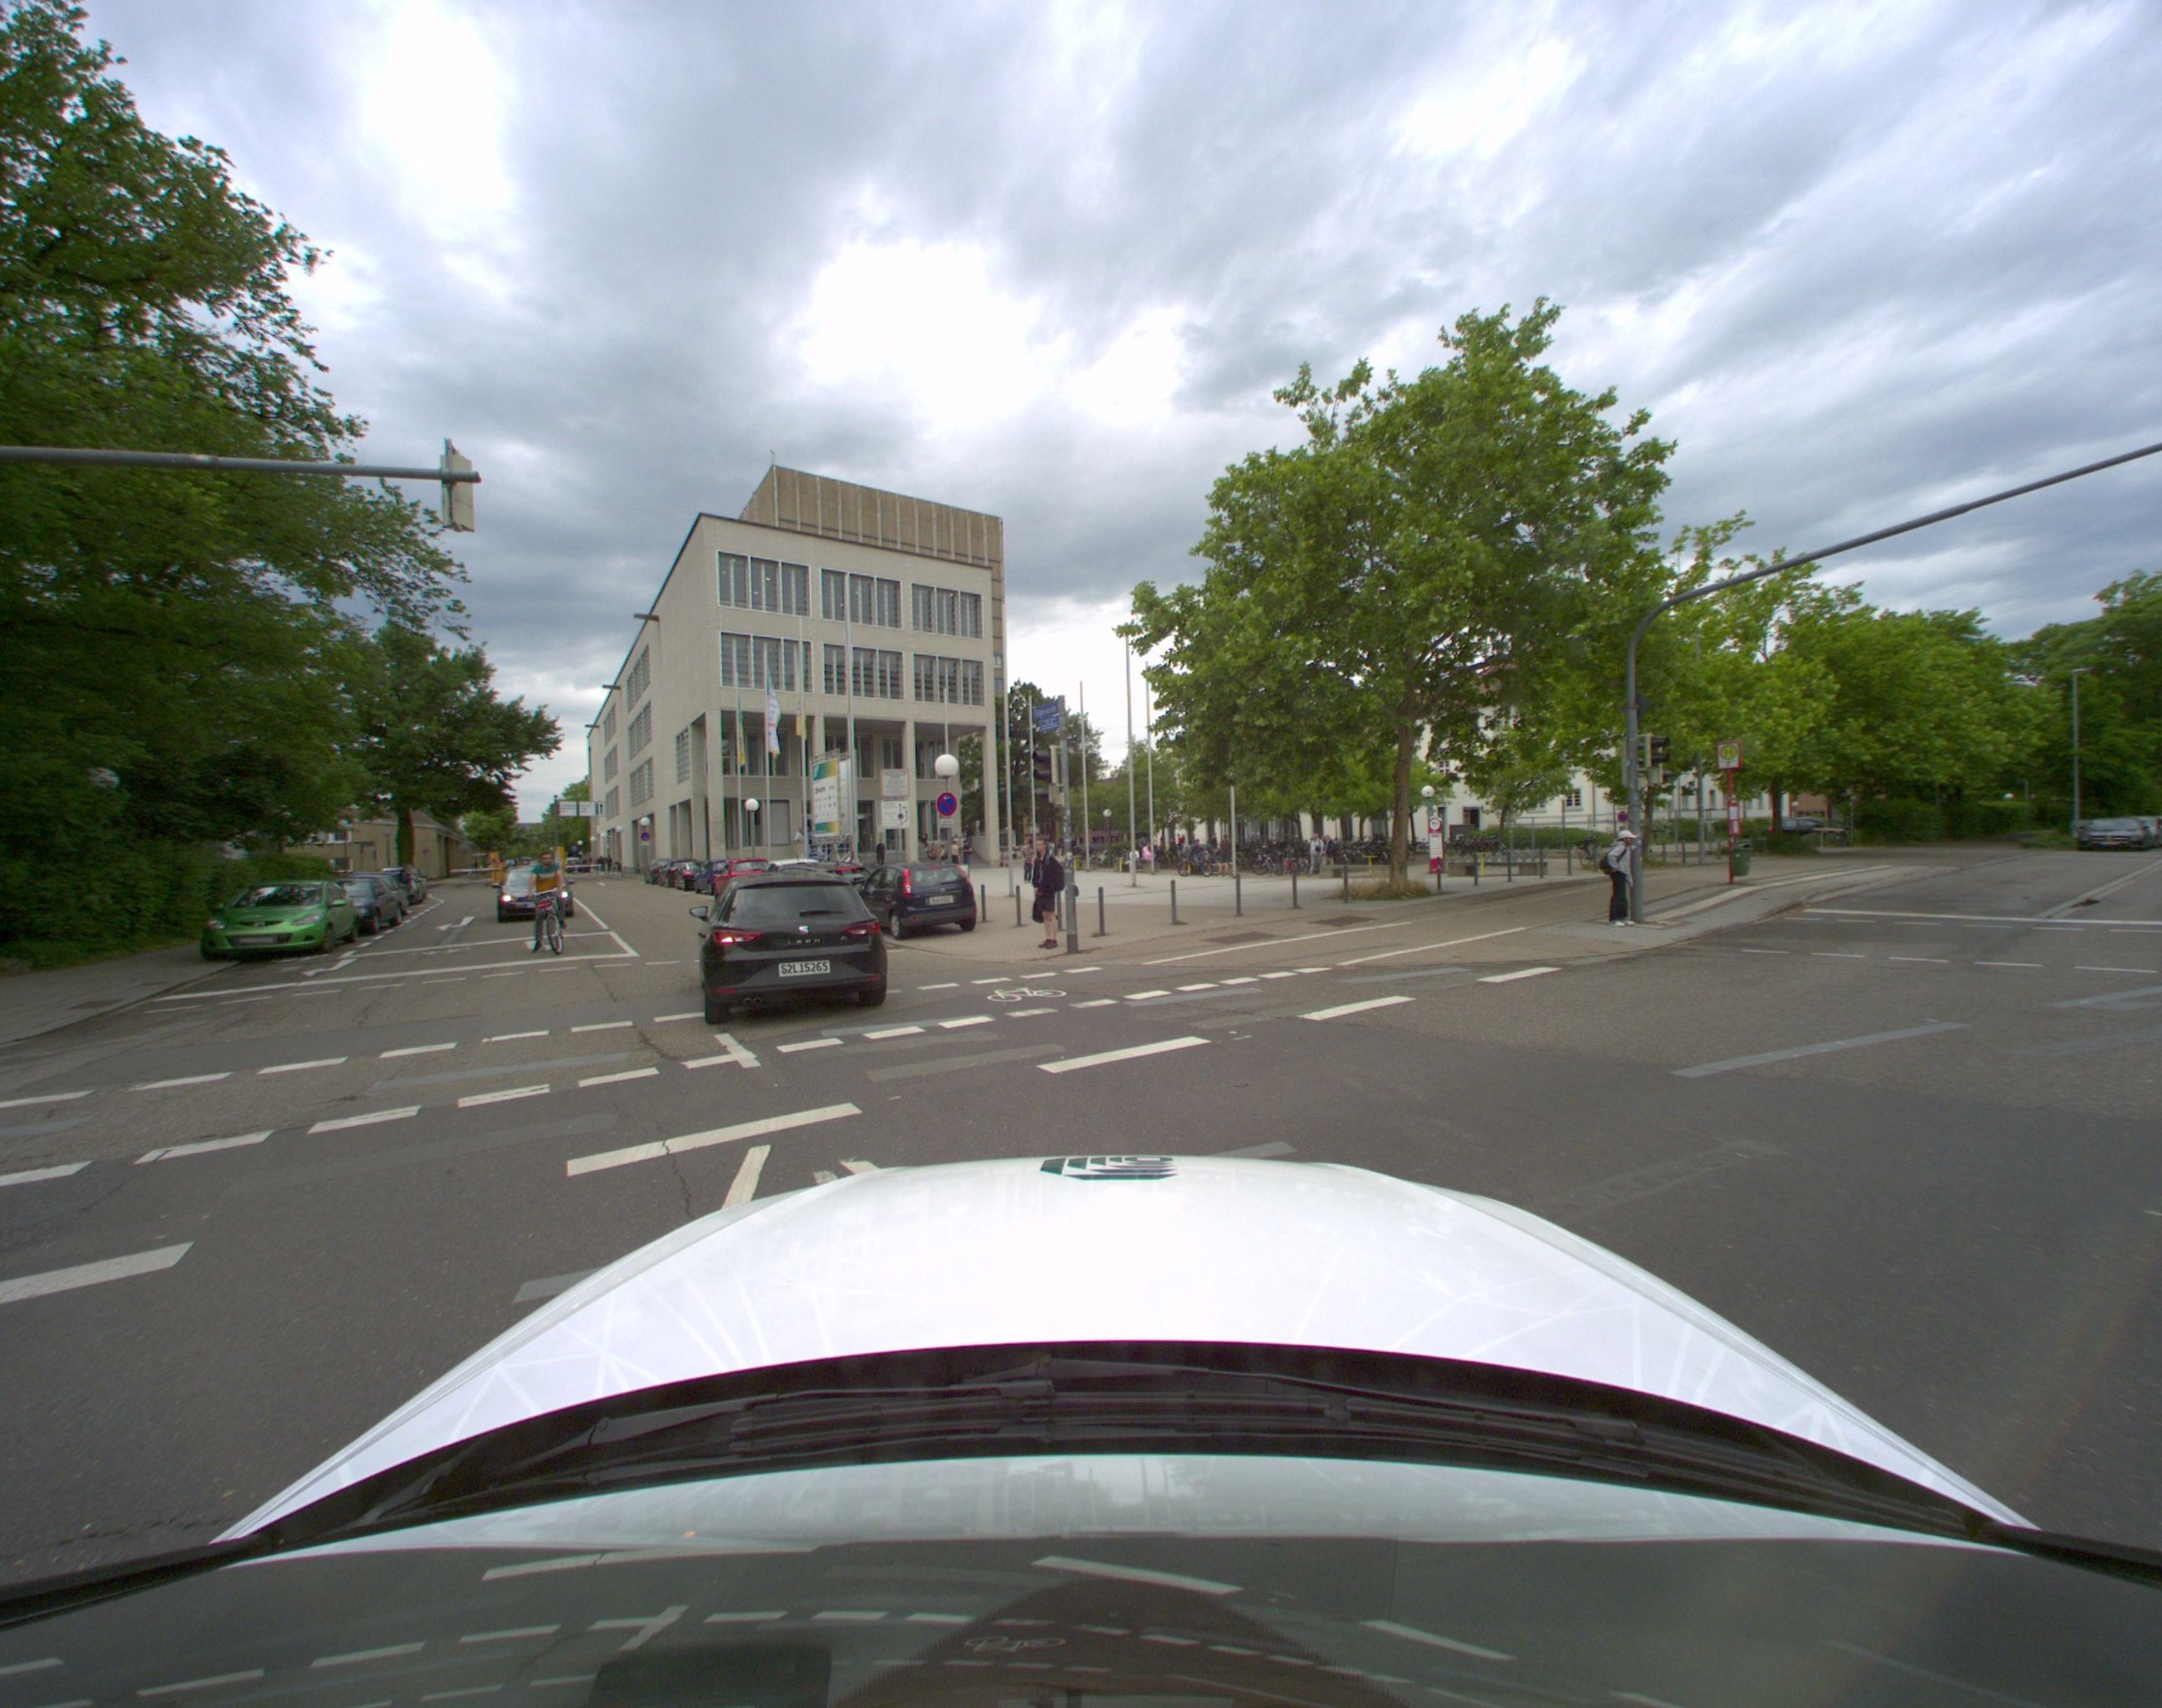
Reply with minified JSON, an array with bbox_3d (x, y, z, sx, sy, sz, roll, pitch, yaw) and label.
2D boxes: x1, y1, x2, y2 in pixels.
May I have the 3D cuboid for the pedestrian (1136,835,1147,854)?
[{"bbox_3d":[5.475,-0.859,73.658,0.665,1.641,0.659,-2,0,-37],"label":"pedestrian"}]

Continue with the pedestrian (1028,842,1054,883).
[{"bbox_3d":[-1.762,0.368,35.657,0.901,1.712,0.696,-3,3,10],"label":"pedestrian"}]

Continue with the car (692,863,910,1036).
[{"bbox_3d":[-3.388,0.853,9.301,1.792,1.419,4.093,-1,0,-27],"label":"car"}]

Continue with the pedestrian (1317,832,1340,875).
[{"bbox_3d":[9.964,-0.021,32.790,0.587,1.715,0.652,-2,0,-29],"label":"pedestrian"}]

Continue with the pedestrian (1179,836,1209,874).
[{"bbox_3d":[5.170,0.047,37.237,0.856,1.704,0.958,-3,2,-37],"label":"pedestrian"}]

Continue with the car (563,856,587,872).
[{"bbox_3d":[-56.462,1.135,90.849,2.009,1.622,4.379,-3,1,-35],"label":"car"}]

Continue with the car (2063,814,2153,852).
[{"bbox_3d":[43.904,-0.890,34.788,4.014,1.512,1.980,-2,1,-32],"label":"car"}]

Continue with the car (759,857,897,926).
[{"bbox_3d":[-6.522,0.854,20.669,1.876,1.401,4.428,-5,3,-37],"label":"car"}]

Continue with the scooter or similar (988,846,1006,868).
[{"bbox_3d":[-5.348,0.166,51.955,0.400,1.369,1.501,2,2,28],"label":"scooter or similar"}]

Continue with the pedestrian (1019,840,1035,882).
[{"bbox_3d":[-2.349,0.308,35.441,0.640,1.807,0.647,1,1,-3],"label":"pedestrian"}]

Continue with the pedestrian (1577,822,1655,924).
[{"bbox_3d":[9.077,0.295,13.842,0.758,1.626,0.788,-3,4,-22],"label":"pedestrian"}]

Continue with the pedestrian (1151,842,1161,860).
[{"bbox_3d":[6.764,-0.269,73.407,0.666,1.641,0.658,-2,0,-38],"label":"pedestrian"}]

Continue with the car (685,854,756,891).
[{"bbox_3d":[-15.329,0.772,34.547,1.709,1.411,4.327,-3,1,-38],"label":"car"}]

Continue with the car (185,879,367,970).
[{"bbox_3d":[-16.414,1.331,16.870,1.810,1.469,4.204,-2,1,-33],"label":"car"}]

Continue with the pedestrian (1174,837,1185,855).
[{"bbox_3d":[8.862,-0.722,73.027,0.665,1.641,0.659,-1,0,-37],"label":"pedestrian"}]

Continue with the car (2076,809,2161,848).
[{"bbox_3d":[47.345,-1.165,37.095,4.014,1.618,1.980,-3,1,-31],"label":"car"}]

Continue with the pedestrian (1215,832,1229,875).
[{"bbox_3d":[6.149,-0.035,35.476,0.507,1.833,0.674,-2,0,5],"label":"pedestrian"}]

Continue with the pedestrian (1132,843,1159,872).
[{"bbox_3d":[3.214,0.185,40.538,0.956,1.420,0.857,-1,0,44],"label":"pedestrian"}]

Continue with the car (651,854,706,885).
[{"bbox_3d":[-21.116,0.755,42.657,1.832,1.443,4.471,-4,2,-36],"label":"car"}]

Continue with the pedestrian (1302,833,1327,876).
[{"bbox_3d":[9.623,0.021,33.542,0.675,1.715,0.672,-2,0,-29],"label":"pedestrian"}]

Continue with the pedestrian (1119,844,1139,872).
[{"bbox_3d":[2.415,0.207,41.156,0.760,1.413,0.677,-2,0,24],"label":"pedestrian"}]

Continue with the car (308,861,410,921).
[{"bbox_3d":[-22.483,1.075,25.528,1.811,1.560,4.482,-2,1,-35],"label":"car"}]

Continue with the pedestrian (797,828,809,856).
[{"bbox_3d":[-16.809,-0.751,49.279,0.631,1.658,0.802,0,2,-18],"label":"pedestrian"}]

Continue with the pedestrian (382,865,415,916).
[{"bbox_3d":[-23.573,1.247,28.145,0.744,1.661,0.957,-3,2,-35],"label":"pedestrian"}]

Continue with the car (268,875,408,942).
[{"bbox_3d":[-19.087,1.320,21.131,1.809,1.408,4.294,-2,1,-31],"label":"car"}]

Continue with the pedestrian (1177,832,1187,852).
[{"bbox_3d":[8.317,-1.000,67.201,0.656,1.641,0.668,-2,0,13],"label":"pedestrian"}]

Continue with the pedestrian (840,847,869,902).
[{"bbox_3d":[-7.568,0.669,27.187,0.794,1.787,0.815,-1,0,-23],"label":"pedestrian"}]

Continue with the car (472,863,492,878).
[{"bbox_3d":[-70.307,1.911,95.645,1.784,1.601,3.956,-1,0,-36],"label":"car"}]

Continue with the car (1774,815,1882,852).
[{"bbox_3d":[38.894,-1.046,42.559,4.013,1.753,2.013,-1,0,39],"label":"car"}]

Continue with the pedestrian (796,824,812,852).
[{"bbox_3d":[-16.462,-0.966,48.420,0.804,1.658,0.629,1,2,-10],"label":"pedestrian"}]

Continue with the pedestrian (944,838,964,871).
[{"bbox_3d":[-7.116,0.021,45.657,0.727,1.785,0.769,-2,0,42],"label":"pedestrian"}]

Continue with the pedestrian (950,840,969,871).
[{"bbox_3d":[-7.040,0.077,47.255,0.727,1.785,0.726,-2,0,42],"label":"pedestrian"}]

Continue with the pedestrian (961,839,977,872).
[{"bbox_3d":[-6.368,0.092,46.429,0.597,1.865,0.782,-2,0,14],"label":"pedestrian"}]

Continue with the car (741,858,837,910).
[{"bbox_3d":[-9.193,0.874,25.459,1.874,1.453,3.817,-2,1,-35],"label":"car"}]

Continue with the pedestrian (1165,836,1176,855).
[{"bbox_3d":[8.135,-0.762,73.905,0.665,1.641,0.686,-1,0,-37],"label":"pedestrian"}]

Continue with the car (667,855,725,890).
[{"bbox_3d":[-18.352,0.840,38.685,1.862,1.442,4.373,-1,2,-34],"label":"car"}]

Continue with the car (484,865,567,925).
[{"bbox_3d":[-15.980,1.099,23.439,1.796,1.497,4.123,-2,1,-35],"label":"car"}]

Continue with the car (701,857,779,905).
[{"bbox_3d":[-12.426,0.927,29.541,1.725,1.473,4.228,-4,2,-35],"label":"car"}]

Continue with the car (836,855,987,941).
[{"bbox_3d":[-3.686,0.838,17.137,1.634,1.501,4.062,-4,1,-34],"label":"car"}]
